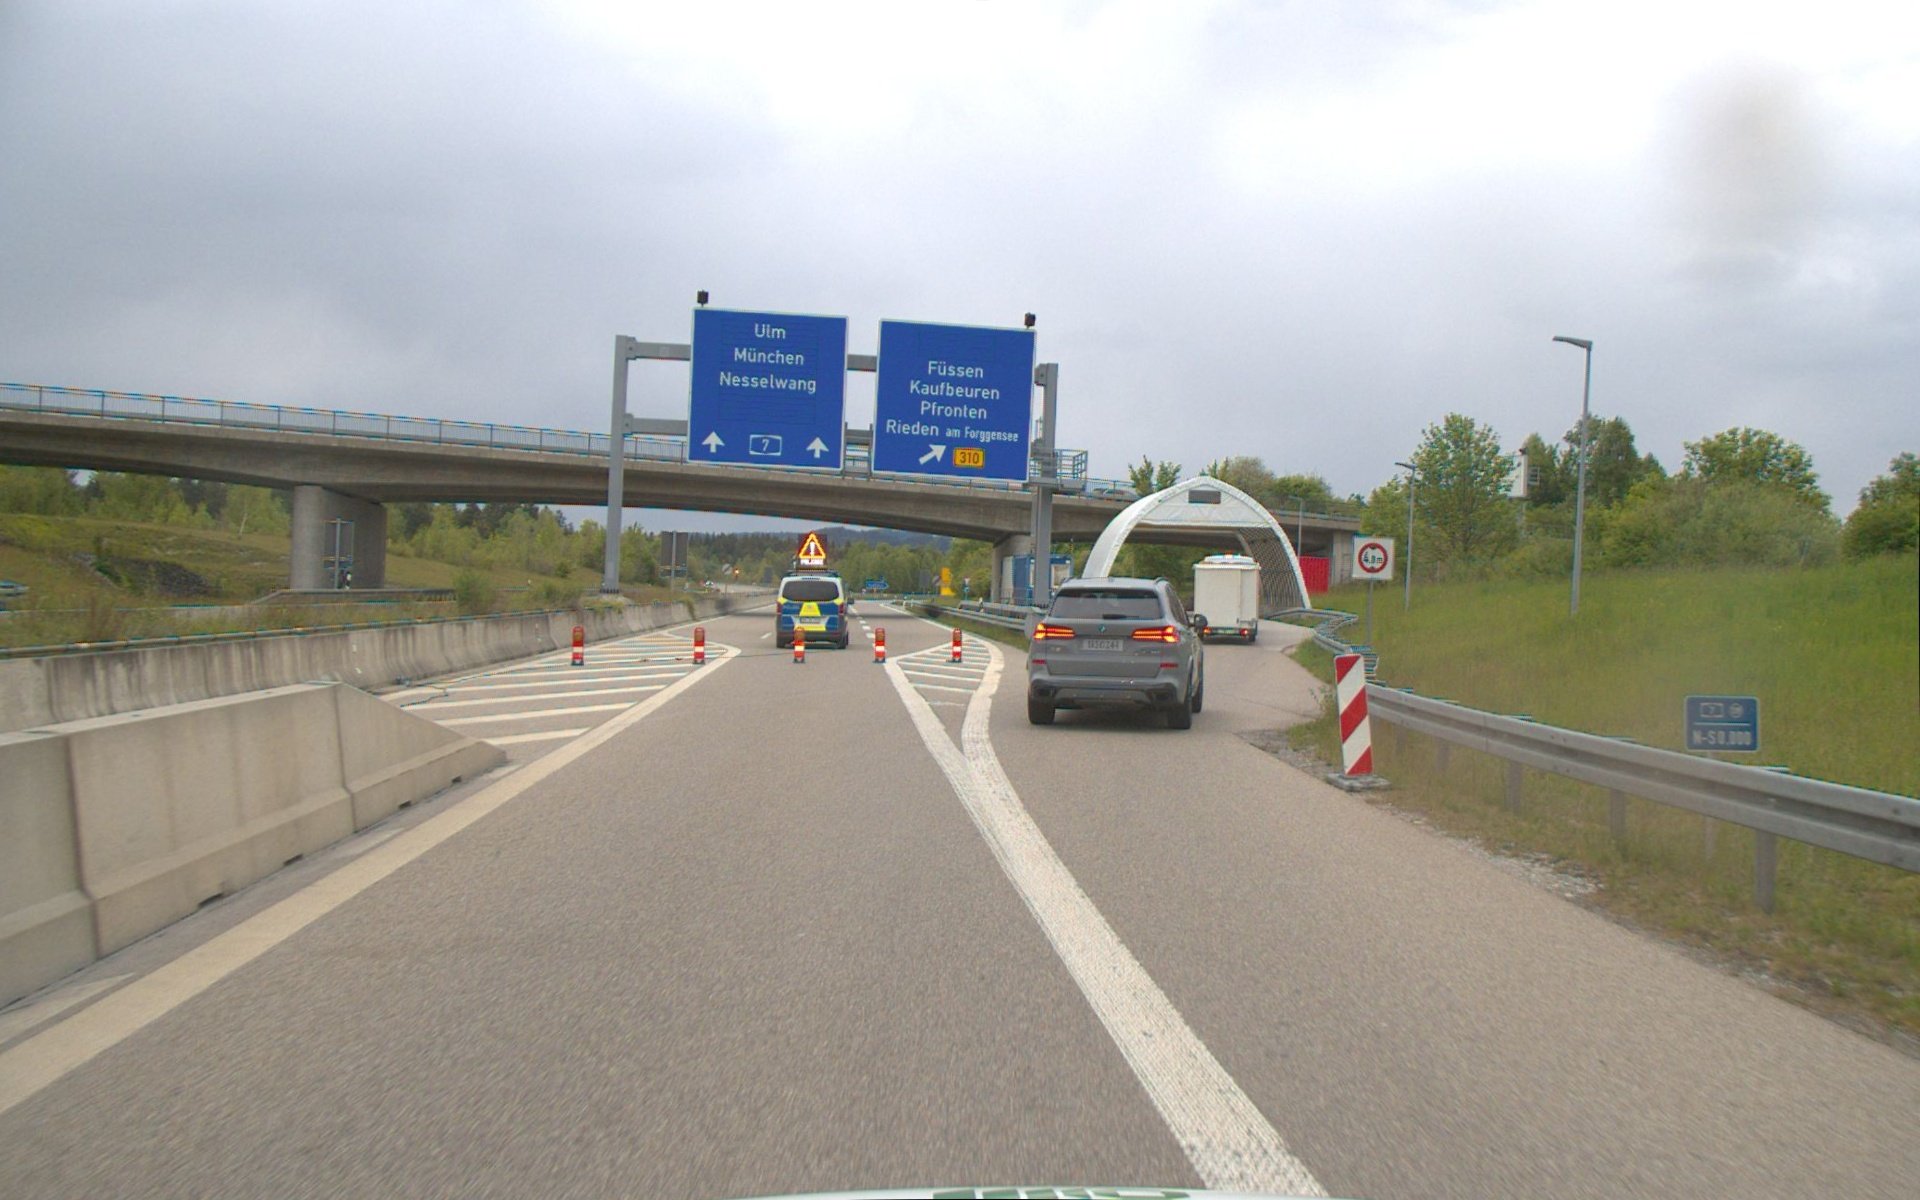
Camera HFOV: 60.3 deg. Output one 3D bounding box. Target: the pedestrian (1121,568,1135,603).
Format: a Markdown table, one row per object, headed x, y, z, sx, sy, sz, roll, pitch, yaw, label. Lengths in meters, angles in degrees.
| x | y | z | sx | sy | sz | roll | pitch | yaw | label |
| --- | --- | --- | --- | --- | --- | --- | --- | --- | --- |
| 9.678 | -0.831 | 95.242 | 0.705 | 1.979 | 0.690 | 0 | 0 | 0 | pedestrian |

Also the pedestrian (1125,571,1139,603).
| x | y | z | sx | sy | sz | roll | pitch | yaw | label |
| --- | --- | --- | --- | --- | --- | --- | --- | --- | --- |
| 9.778 | -0.734 | 94.196 | 0.705 | 1.806 | 0.690 | 0 | 0 | 0 | pedestrian |

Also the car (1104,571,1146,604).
| x | y | z | sx | sy | sz | roll | pitch | yaw | label |
| --- | --- | --- | --- | --- | --- | --- | --- | --- | --- |
| 9.157 | -0.709 | 91.855 | 1.953 | 1.803 | 3.765 | 1 | 0 | 0 | car |

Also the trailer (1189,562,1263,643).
| x | y | z | sx | sy | sz | roll | pitch | yaw | label |
| --- | --- | --- | --- | --- | --- | --- | --- | --- | --- |
| 8.730 | 0.102 | 54.531 | 2.230 | 2.473 | 6.823 | 1 | 0 | 8 | trailer |

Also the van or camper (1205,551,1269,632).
| x | y | z | sx | sy | sz | roll | pitch | yaw | label |
| --- | --- | --- | --- | --- | --- | --- | --- | --- | --- |
| 10.119 | -0.274 | 60.815 | 2.111 | 2.812 | 5.876 | 1 | 0 | 8 | van or camper |

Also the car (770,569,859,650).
| x | y | z | sx | sy | sz | roll | pitch | yaw | label |
| --- | --- | --- | --- | --- | --- | --- | --- | --- | --- |
| -3.964 | 0.195 | 45.077 | 2.242 | 2.049 | 5.044 | 1 | 1 | -5 | car |

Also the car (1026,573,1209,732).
| x | y | z | sx | sy | sz | roll | pitch | yaw | label |
| --- | --- | --- | --- | --- | --- | --- | --- | --- | --- |
| 2.075 | 0.584 | 20.732 | 1.951 | 1.749 | 4.003 | 1 | 0 | 10 | car |

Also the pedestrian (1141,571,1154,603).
| x | y | z | sx | sy | sz | roll | pitch | yaw | label |
| --- | --- | --- | --- | --- | --- | --- | --- | --- | --- |
| 10.791 | -0.732 | 95.108 | 0.635 | 1.806 | 0.606 | 0 | 0 | -2 | pedestrian |
